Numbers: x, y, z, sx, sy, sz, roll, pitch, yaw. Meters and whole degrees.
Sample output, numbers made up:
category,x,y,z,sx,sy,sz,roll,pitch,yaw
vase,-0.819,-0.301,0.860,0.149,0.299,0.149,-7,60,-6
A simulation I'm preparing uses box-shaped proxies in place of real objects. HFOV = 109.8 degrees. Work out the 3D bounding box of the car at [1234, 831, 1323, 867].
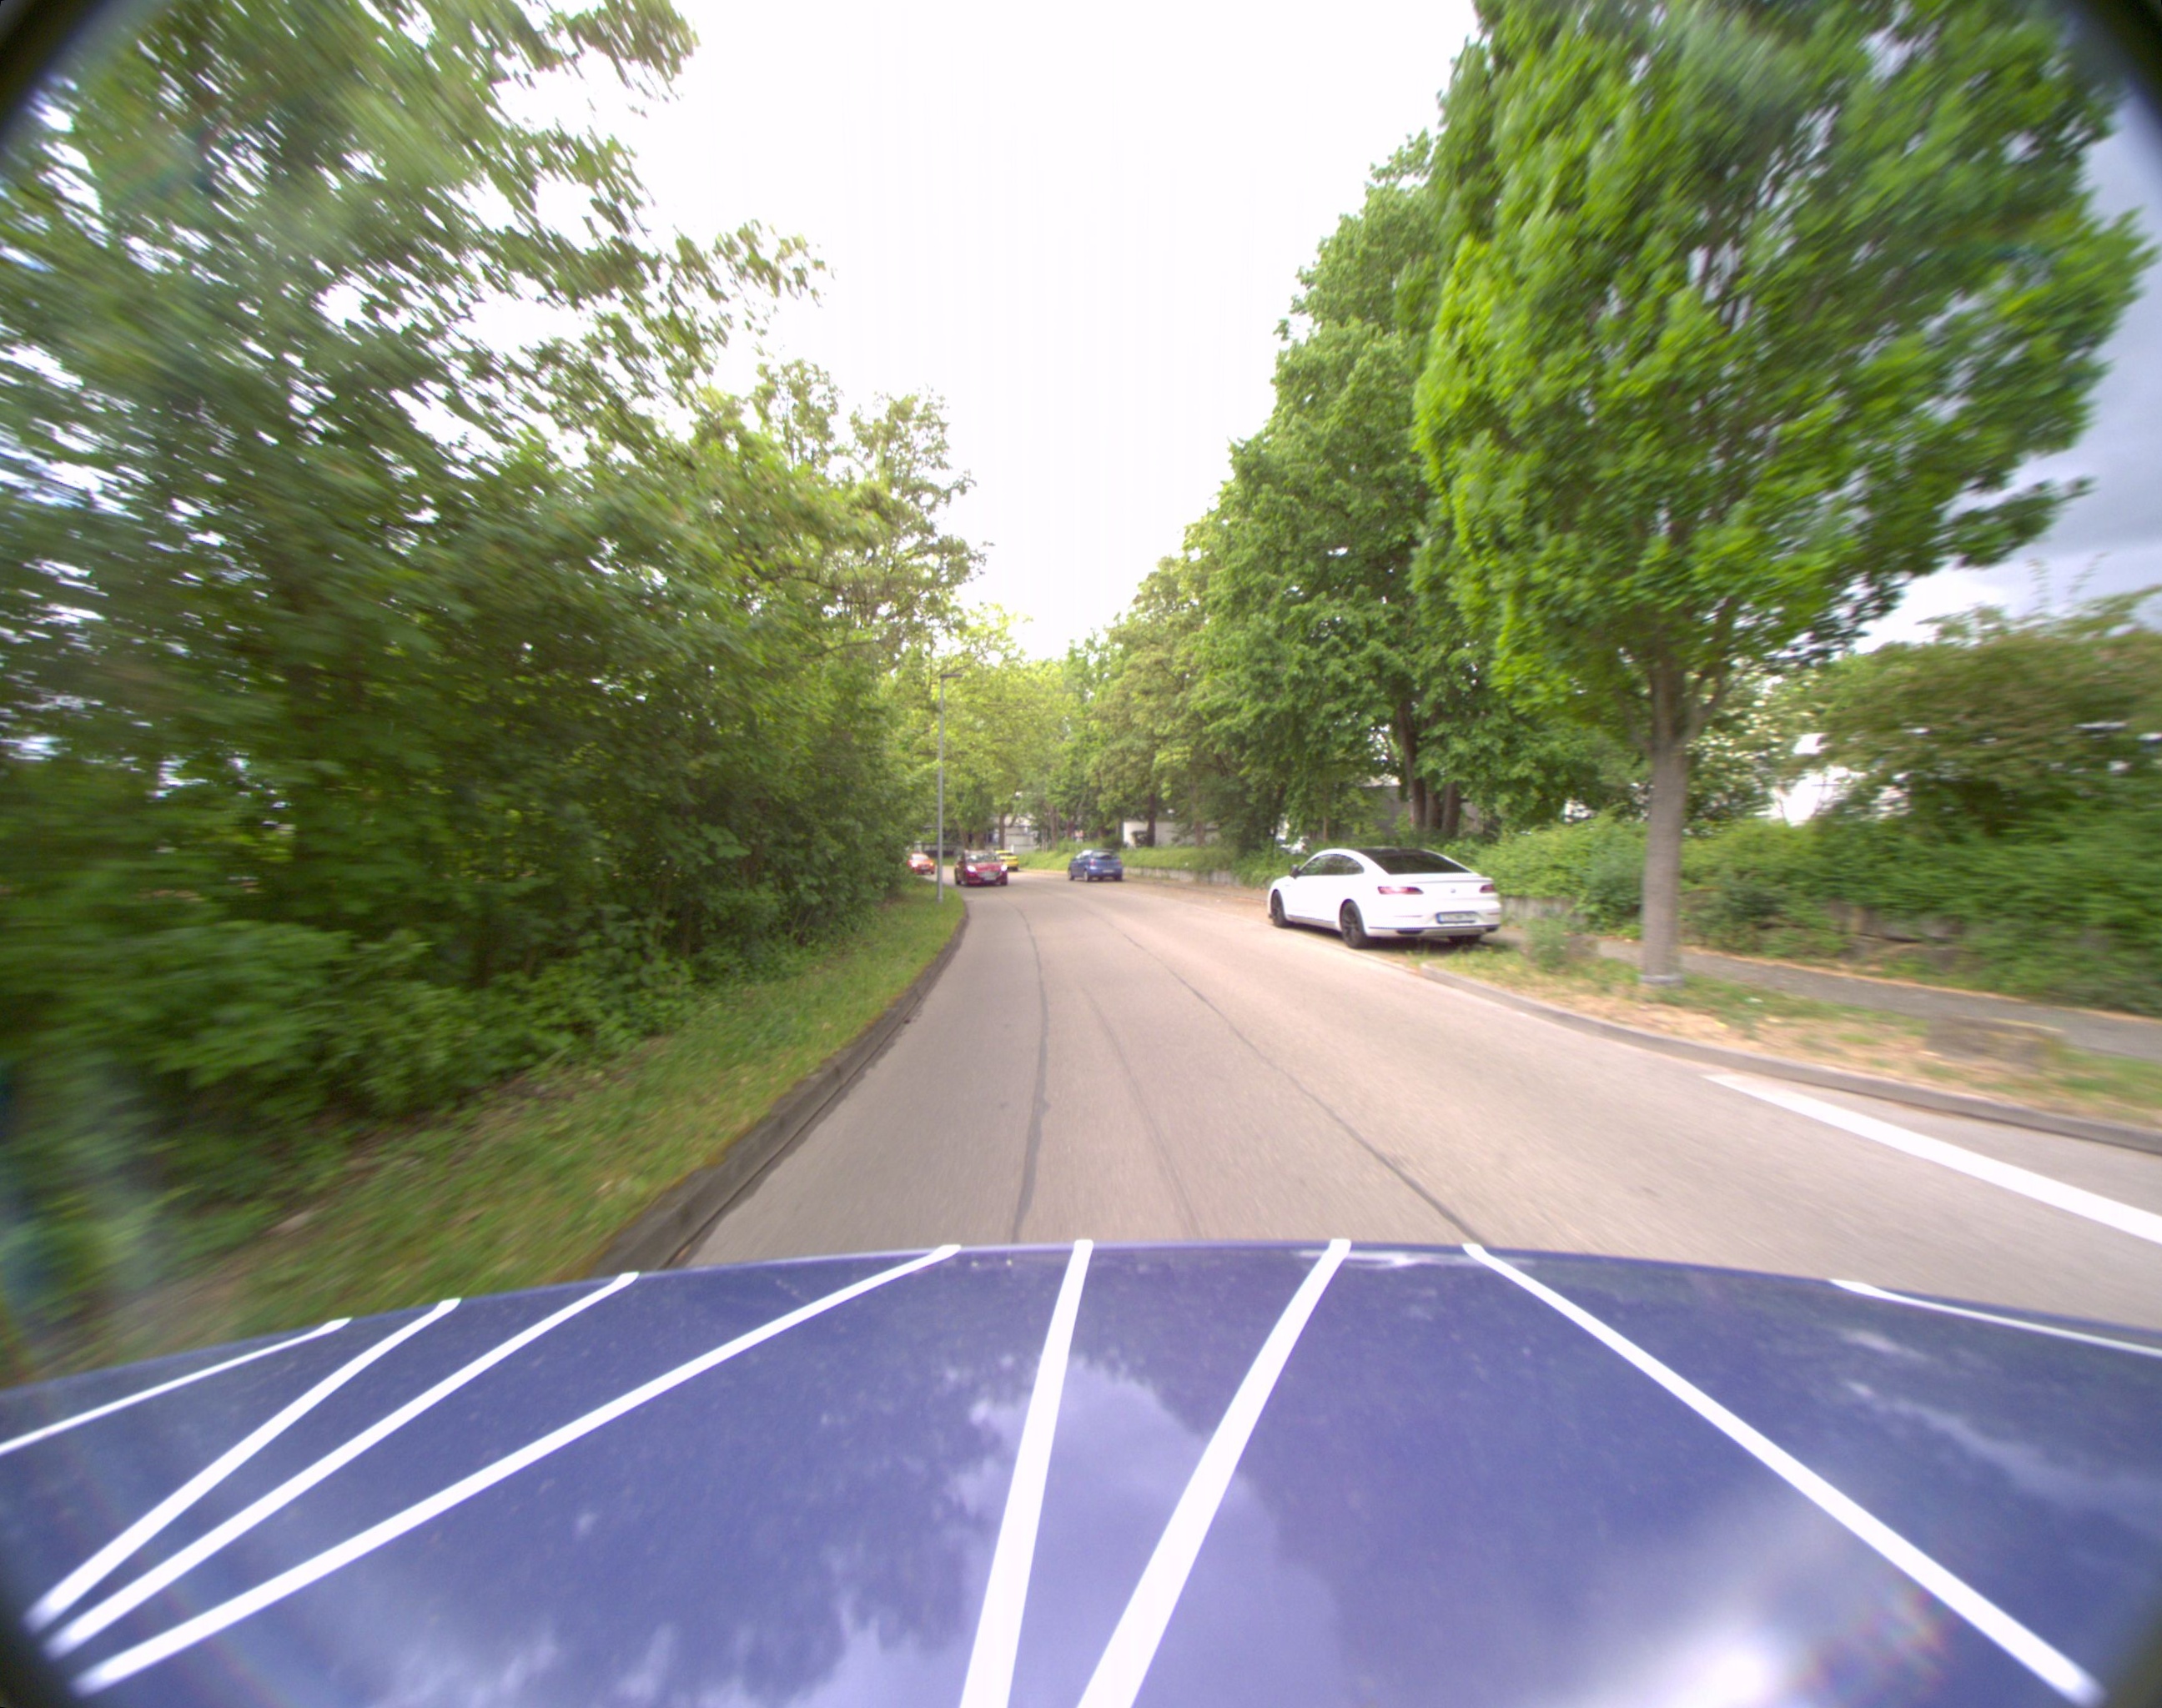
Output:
category,x,y,z,sx,sy,sz,roll,pitch,yaw
car,9.834,-0.245,37.881,3.801,1.629,2.003,0,2,38

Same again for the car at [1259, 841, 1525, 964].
category,x,y,z,sx,sy,sz,roll,pitch,yaw
car,4.445,0.576,11.795,1.853,1.483,4.633,-1,1,-6

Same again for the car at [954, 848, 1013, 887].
category,x,y,z,sx,sy,sz,roll,pitch,yaw
car,-4.529,0.560,34.658,1.948,1.550,4.348,-2,2,-17

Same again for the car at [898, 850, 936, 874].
category,x,y,z,sx,sy,sz,roll,pitch,yaw
car,-11.151,0.492,51.460,1.950,1.523,4.079,-2,1,-20

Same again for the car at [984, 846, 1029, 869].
category,x,y,z,sx,sy,sz,roll,pitch,yaw
car,-5.090,0.209,51.484,1.856,1.483,3.992,-1,1,-24

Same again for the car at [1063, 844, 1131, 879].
category,x,y,z,sx,sy,sz,roll,pitch,yaw
car,0.650,0.306,34.629,1.855,1.483,3.993,-1,1,-19
